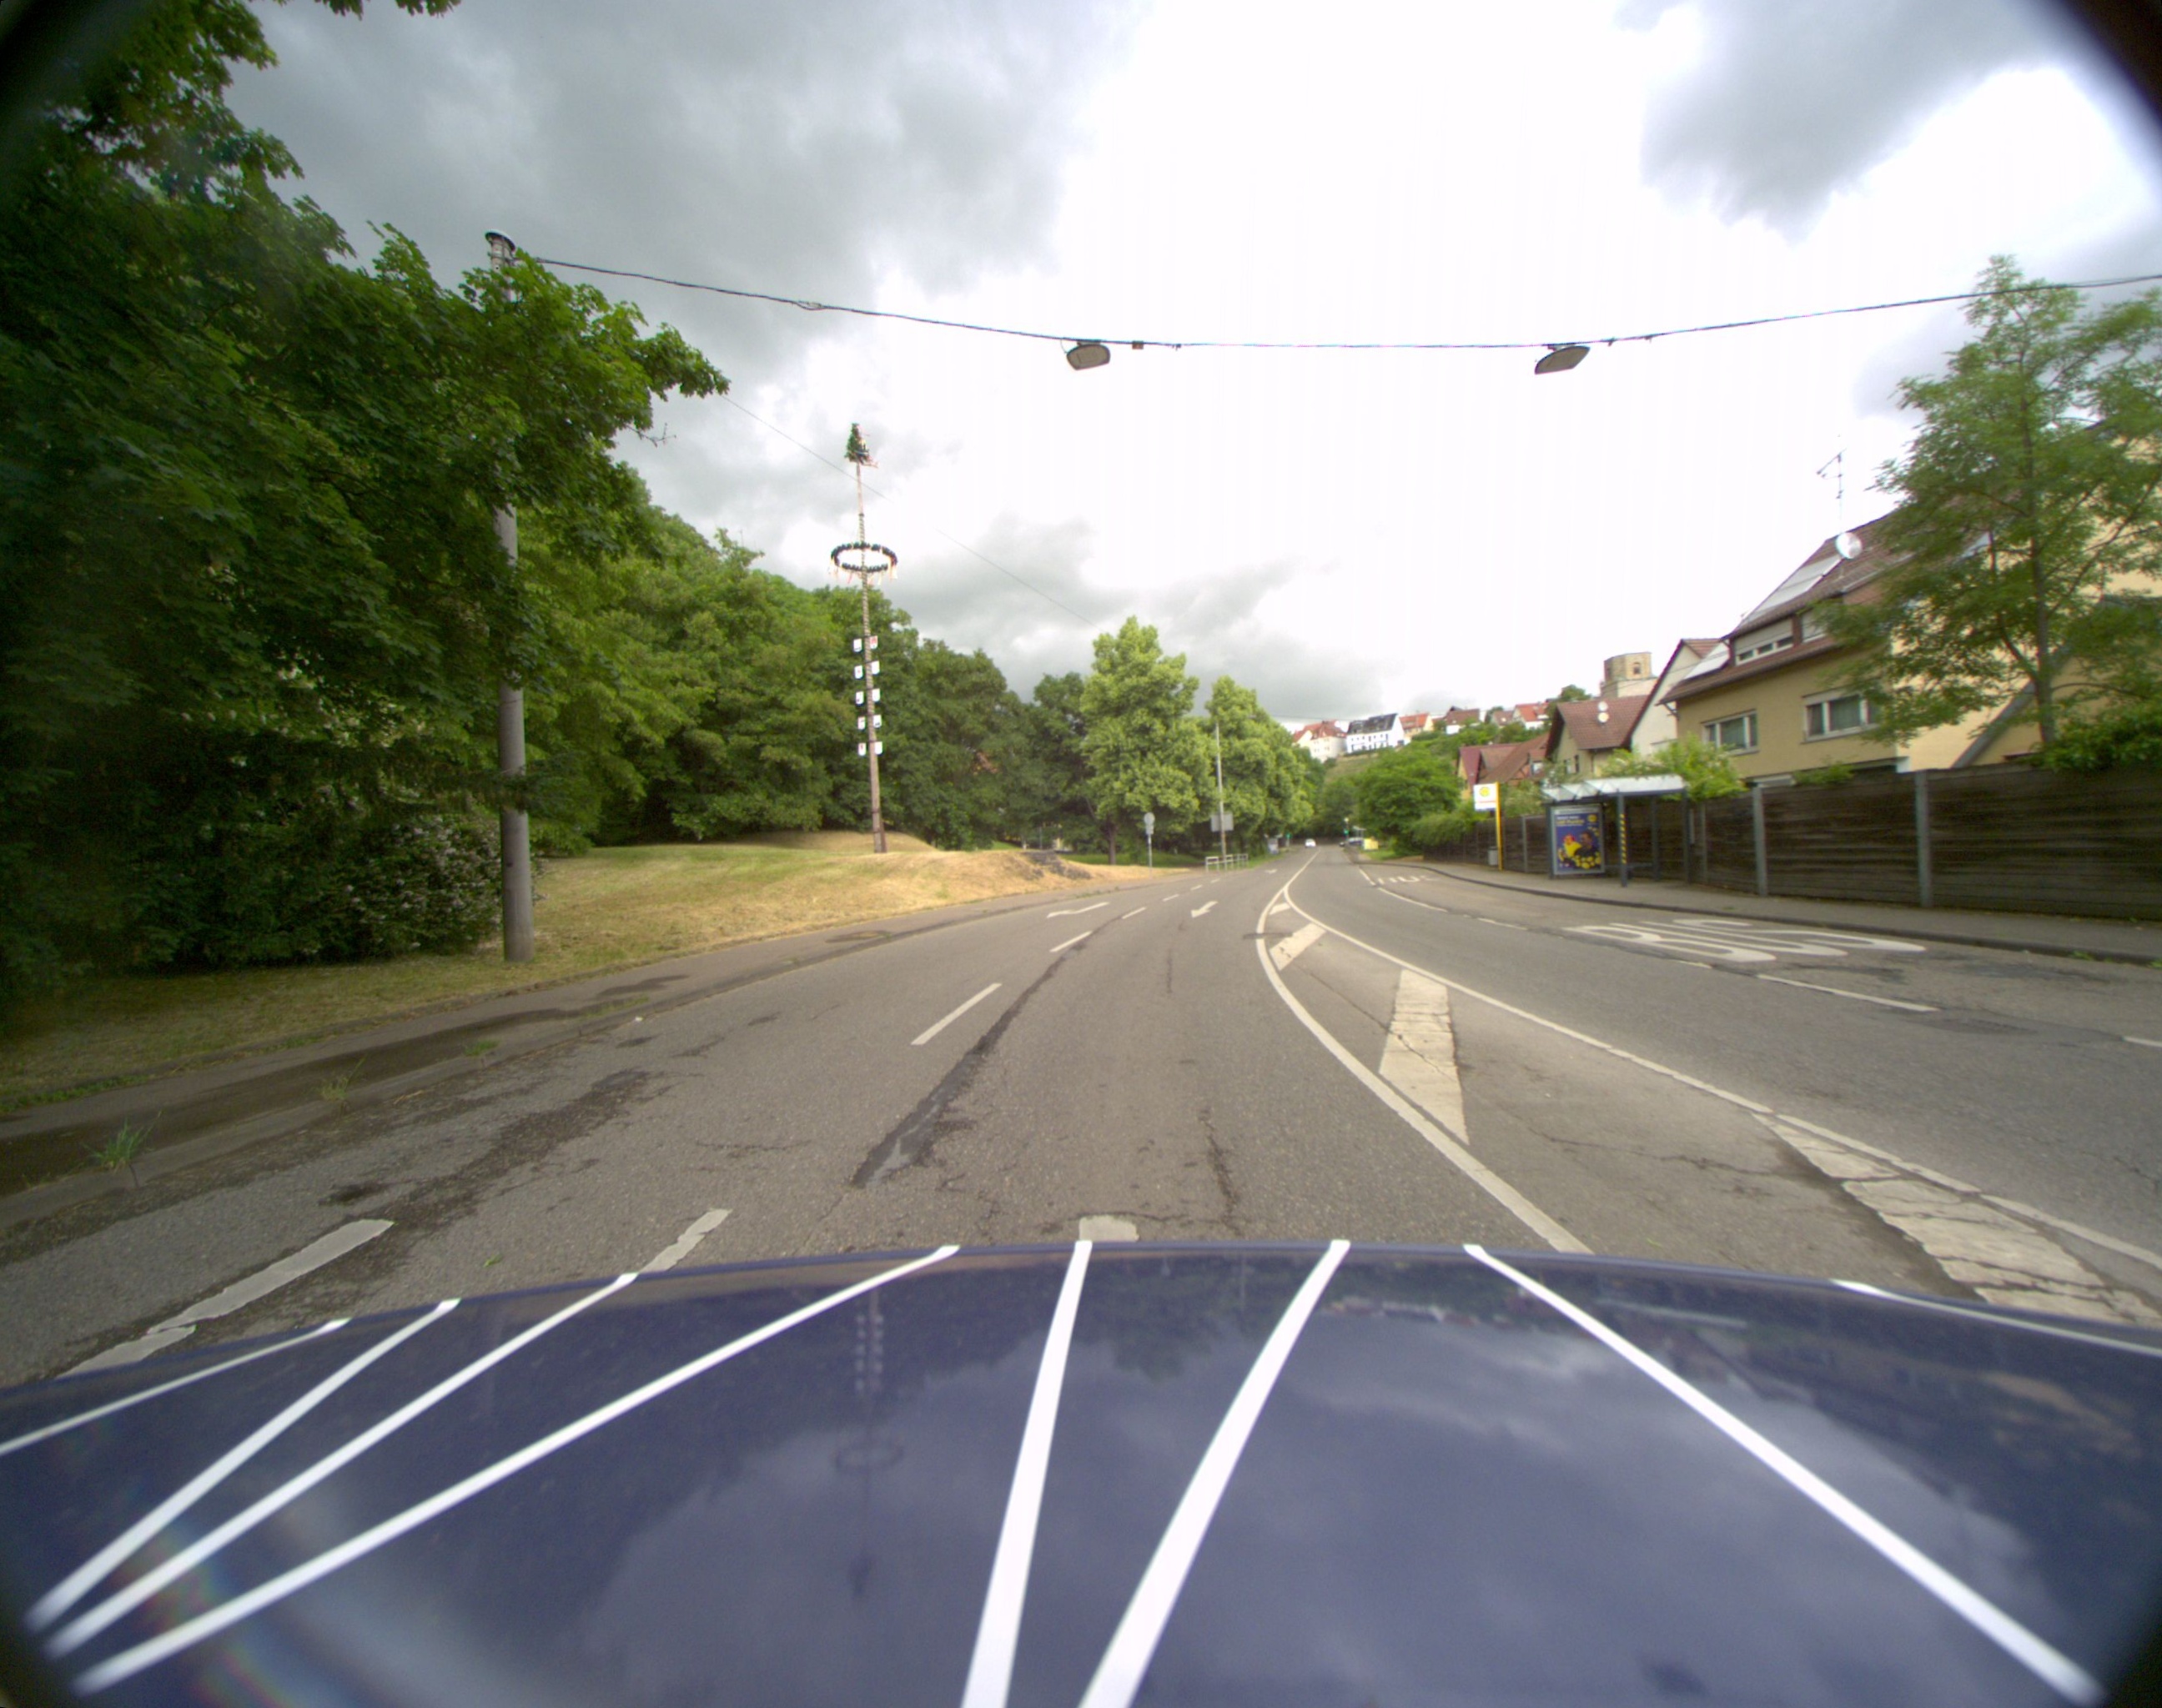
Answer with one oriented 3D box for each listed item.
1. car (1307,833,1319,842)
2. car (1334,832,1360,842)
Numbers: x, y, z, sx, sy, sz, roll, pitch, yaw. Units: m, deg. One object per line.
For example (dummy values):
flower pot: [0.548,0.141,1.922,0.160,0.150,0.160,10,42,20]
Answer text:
car: [42.617,-2.974,139.487,1.762,1.516,3.686,-2,1,13]
car: [44.327,-2.837,126.832,3.682,1.575,1.764,-2,1,-4]
